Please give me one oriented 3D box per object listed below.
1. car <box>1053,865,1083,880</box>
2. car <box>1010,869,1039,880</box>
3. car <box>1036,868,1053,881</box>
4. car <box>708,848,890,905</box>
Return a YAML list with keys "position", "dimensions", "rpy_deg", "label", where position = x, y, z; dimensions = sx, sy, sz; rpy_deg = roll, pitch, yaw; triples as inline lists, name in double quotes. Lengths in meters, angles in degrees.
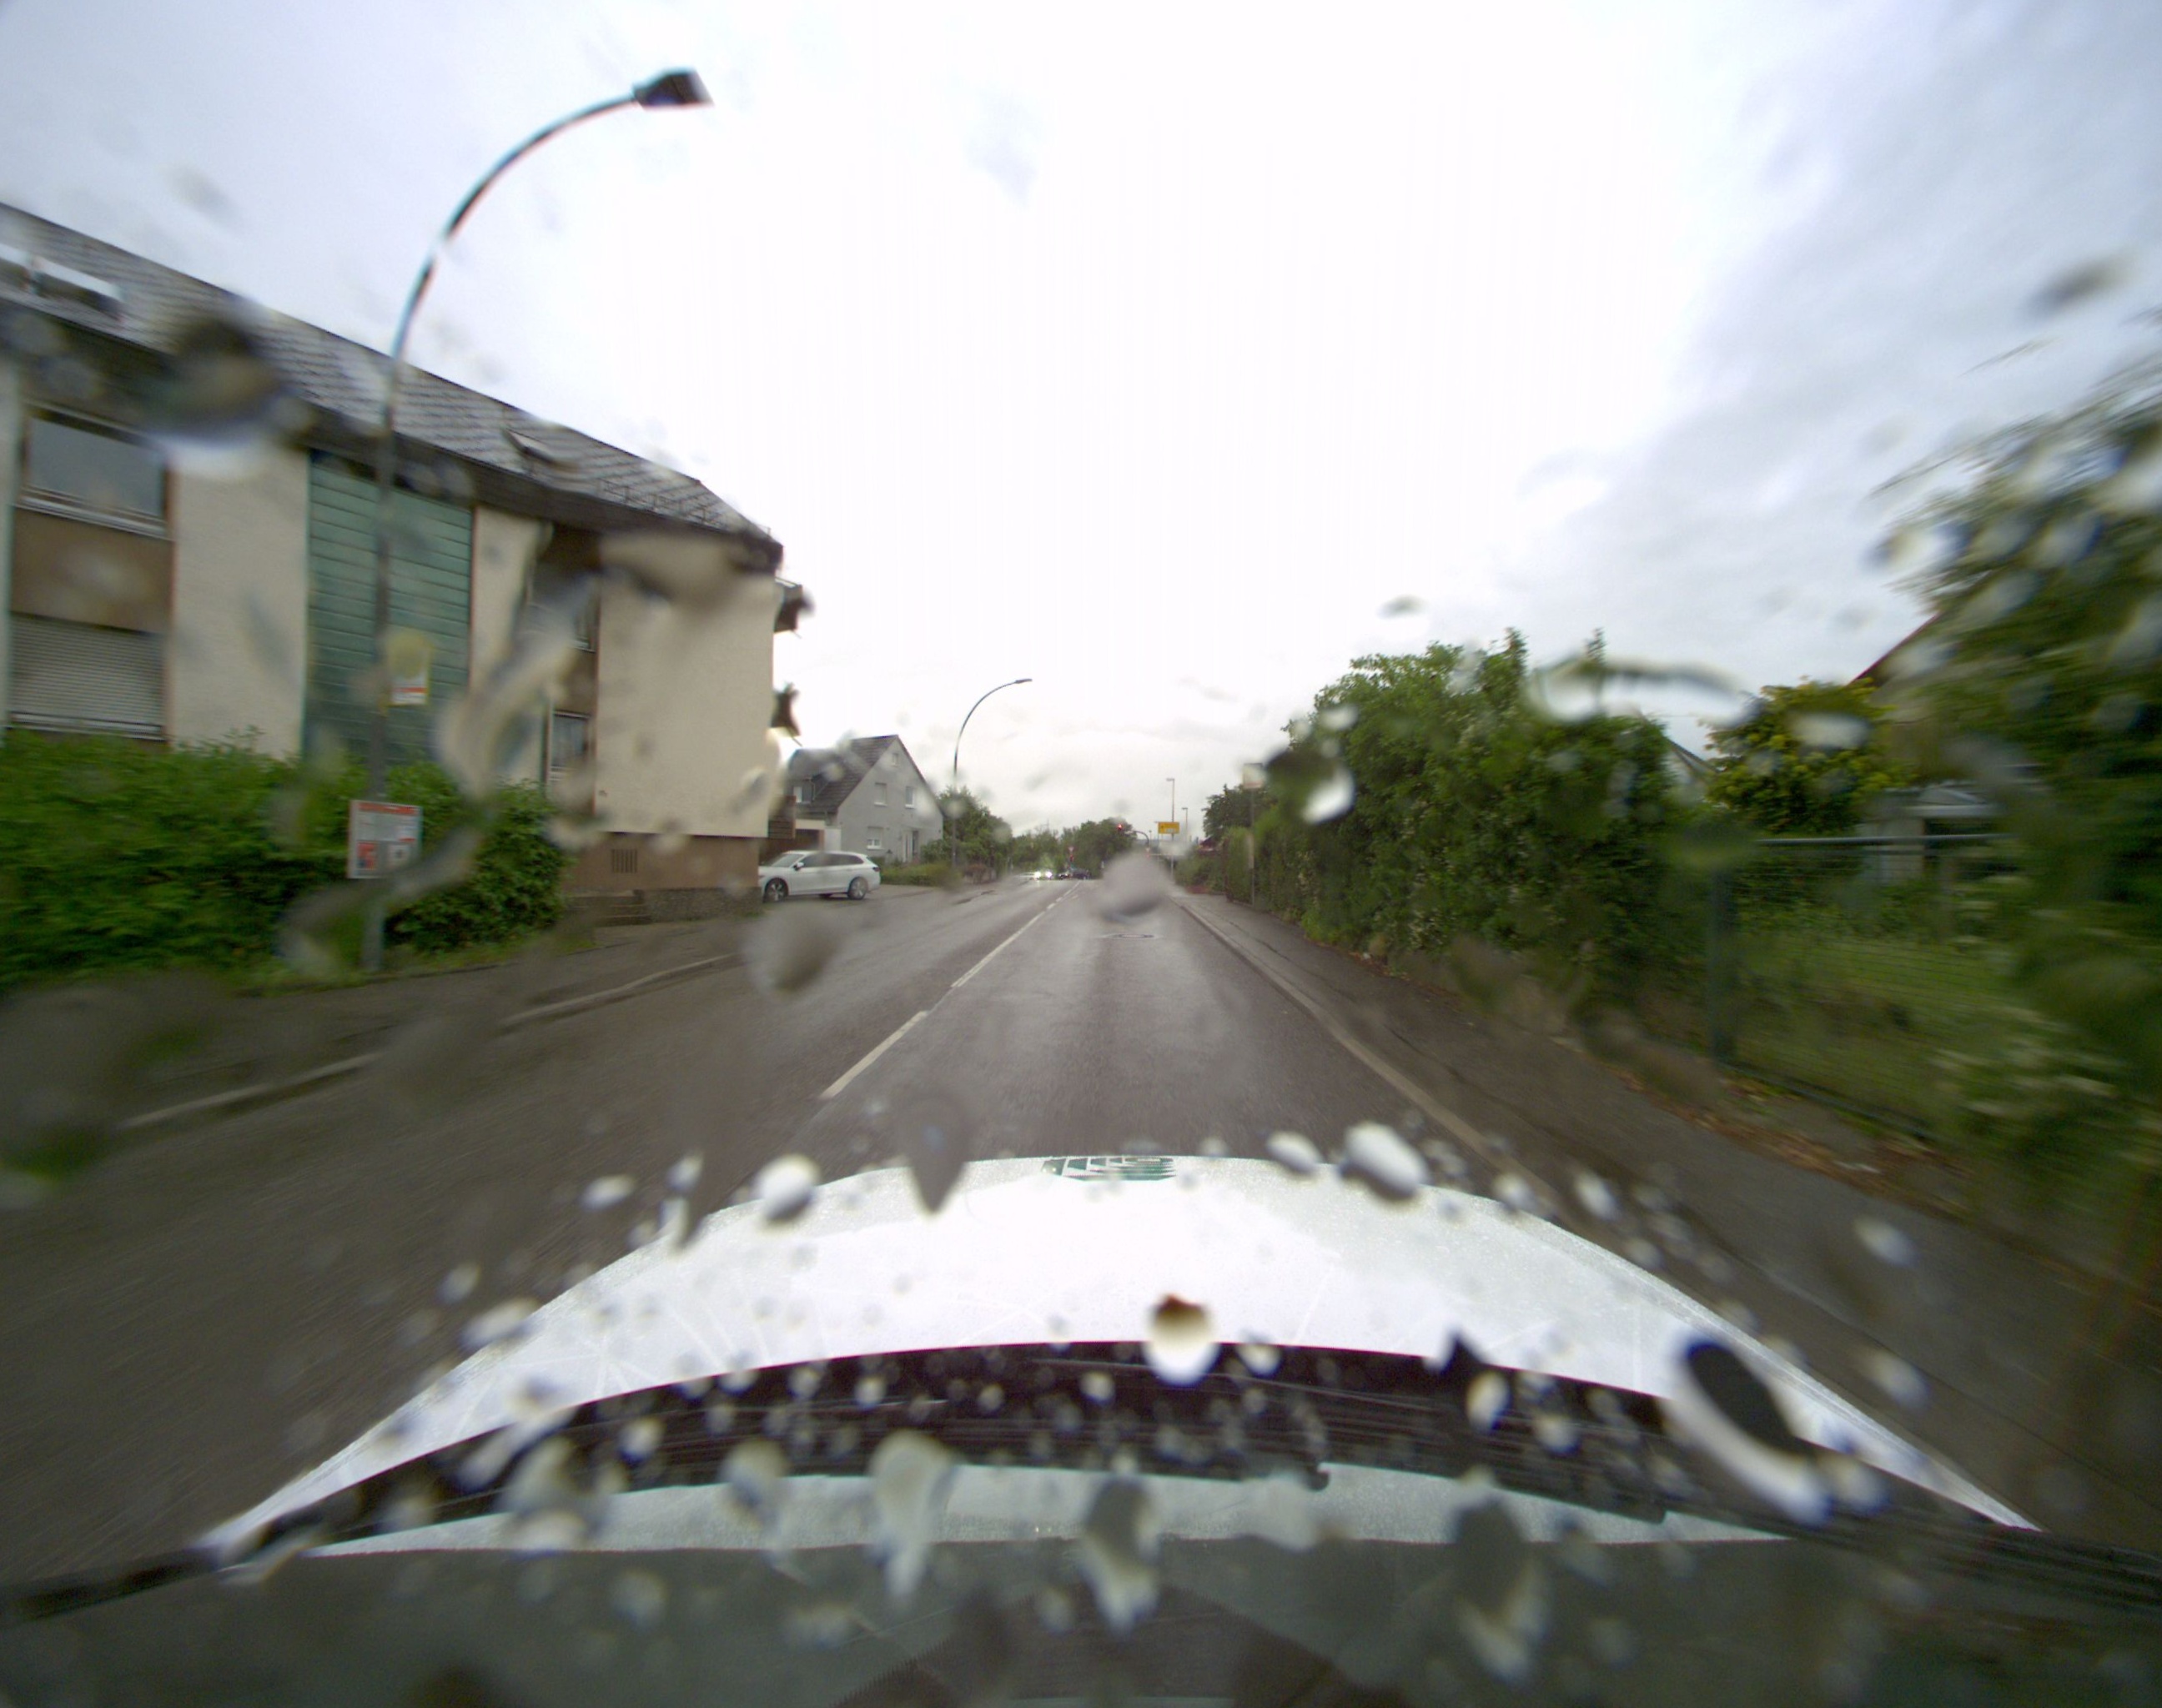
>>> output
- position: [-1.733, 2.526, 110.574]
  dimensions: [1.755, 2.014, 4.024]
  rpy_deg: [0, -1, 42]
  label: "car"
- position: [-8.844, 3.276, 127.828]
  dimensions: [3.957, 1.617, 1.952]
  rpy_deg: [-1, 2, 15]
  label: "car"
- position: [-4.335, 2.421, 98.245]
  dimensions: [1.798, 1.523, 4.000]
  rpy_deg: [1, 0, 1]
  label: "car"
- position: [-8.262, 0.602, 24.337]
  dimensions: [1.883, 1.477, 4.913]
  rpy_deg: [2, 1, 35]
  label: "car"
